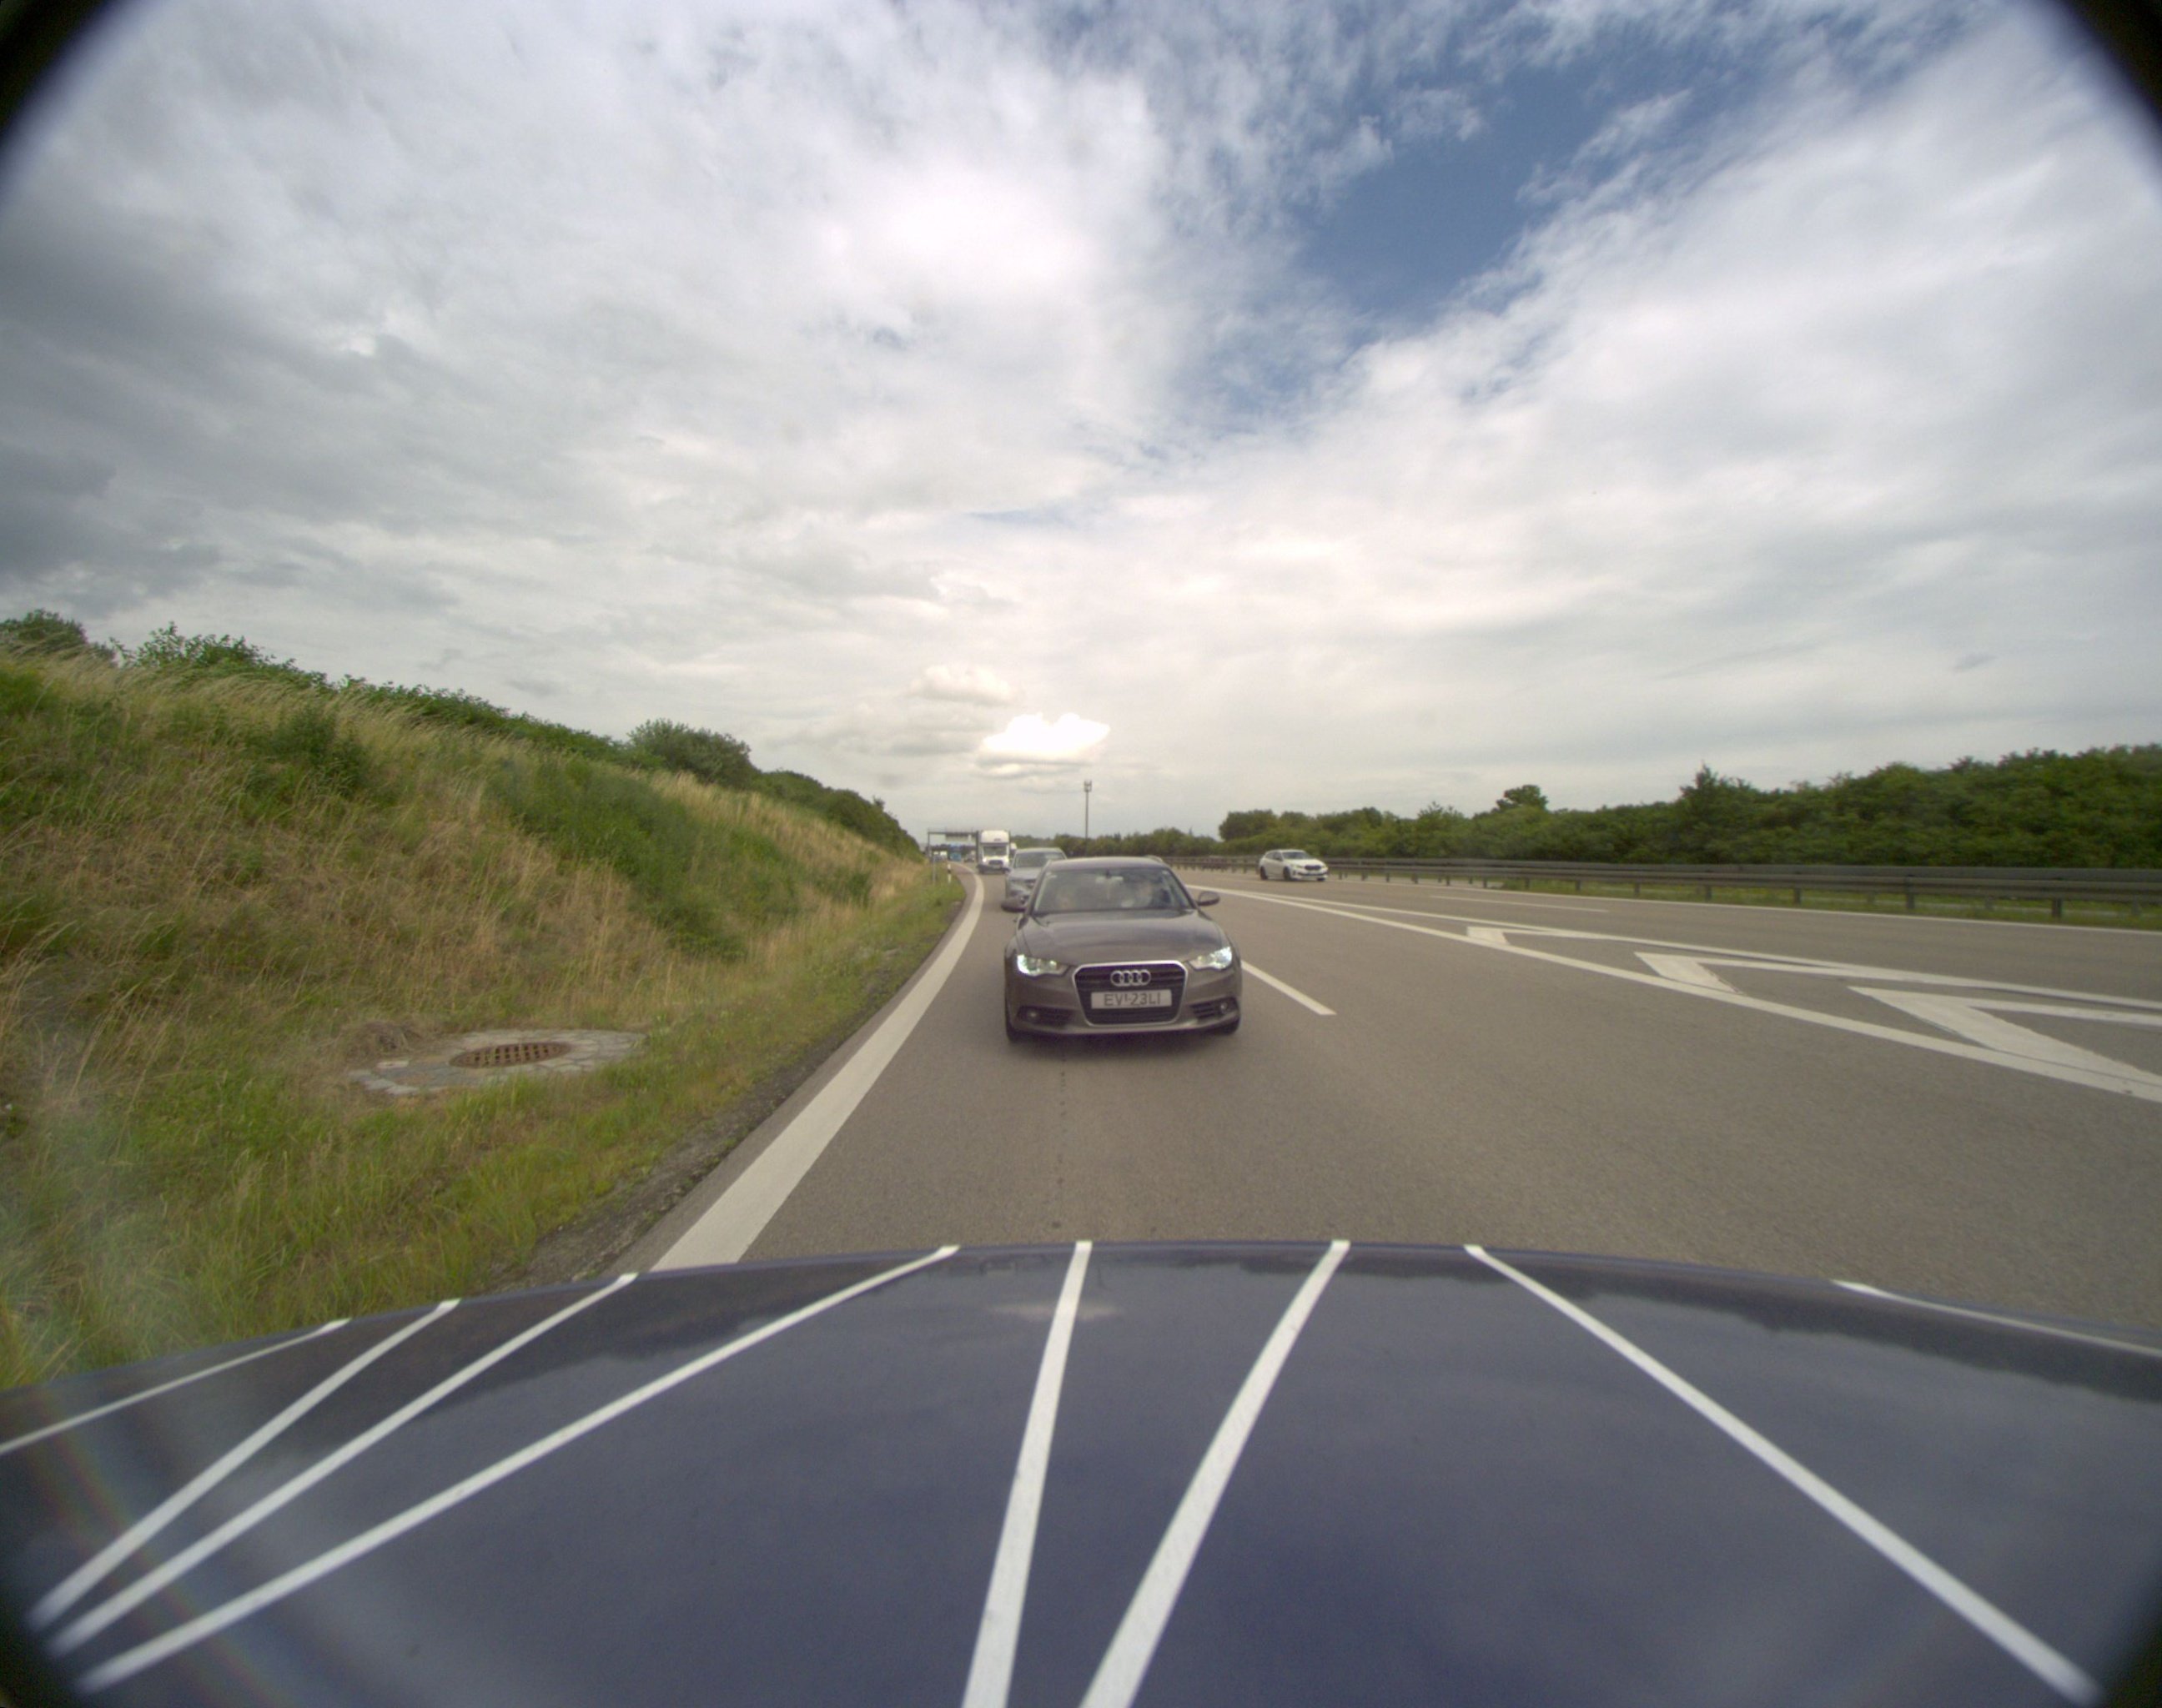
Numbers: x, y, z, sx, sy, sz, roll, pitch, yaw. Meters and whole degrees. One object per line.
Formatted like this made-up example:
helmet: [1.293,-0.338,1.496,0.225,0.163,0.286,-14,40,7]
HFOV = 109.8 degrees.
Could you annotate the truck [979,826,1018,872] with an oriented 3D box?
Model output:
truck: [-6.216,-0.376,56.441,2.450,3.217,7.184,-1,1,-10]

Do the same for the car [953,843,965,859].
car: [-29.172,-0.684,181.292,2.506,3.689,7.694,-1,1,-11]

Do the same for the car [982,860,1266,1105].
car: [0.201,0.863,7.044,1.849,1.489,4.027,-2,1,-3]

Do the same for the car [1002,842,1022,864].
car: [-7.803,-0.122,85.481,2.000,2.381,3.996,-2,1,-8]

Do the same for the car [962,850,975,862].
car: [-20.292,0.334,136.953,2.000,2.002,3.996,-1,1,-10]

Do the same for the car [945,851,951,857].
car: [-43.164,-0.080,246.774,1.931,2.020,3.996,-1,1,-10]

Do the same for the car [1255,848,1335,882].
car: [9.903,0.468,35.535,1.842,1.445,4.374,-1,0,-11]

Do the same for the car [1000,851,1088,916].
car: [-1.124,0.716,20.876,2.000,1.567,3.996,-1,0,-9]

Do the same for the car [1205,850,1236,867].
car: [14.927,0.437,81.487,2.000,1.792,3.996,0,0,-10]
